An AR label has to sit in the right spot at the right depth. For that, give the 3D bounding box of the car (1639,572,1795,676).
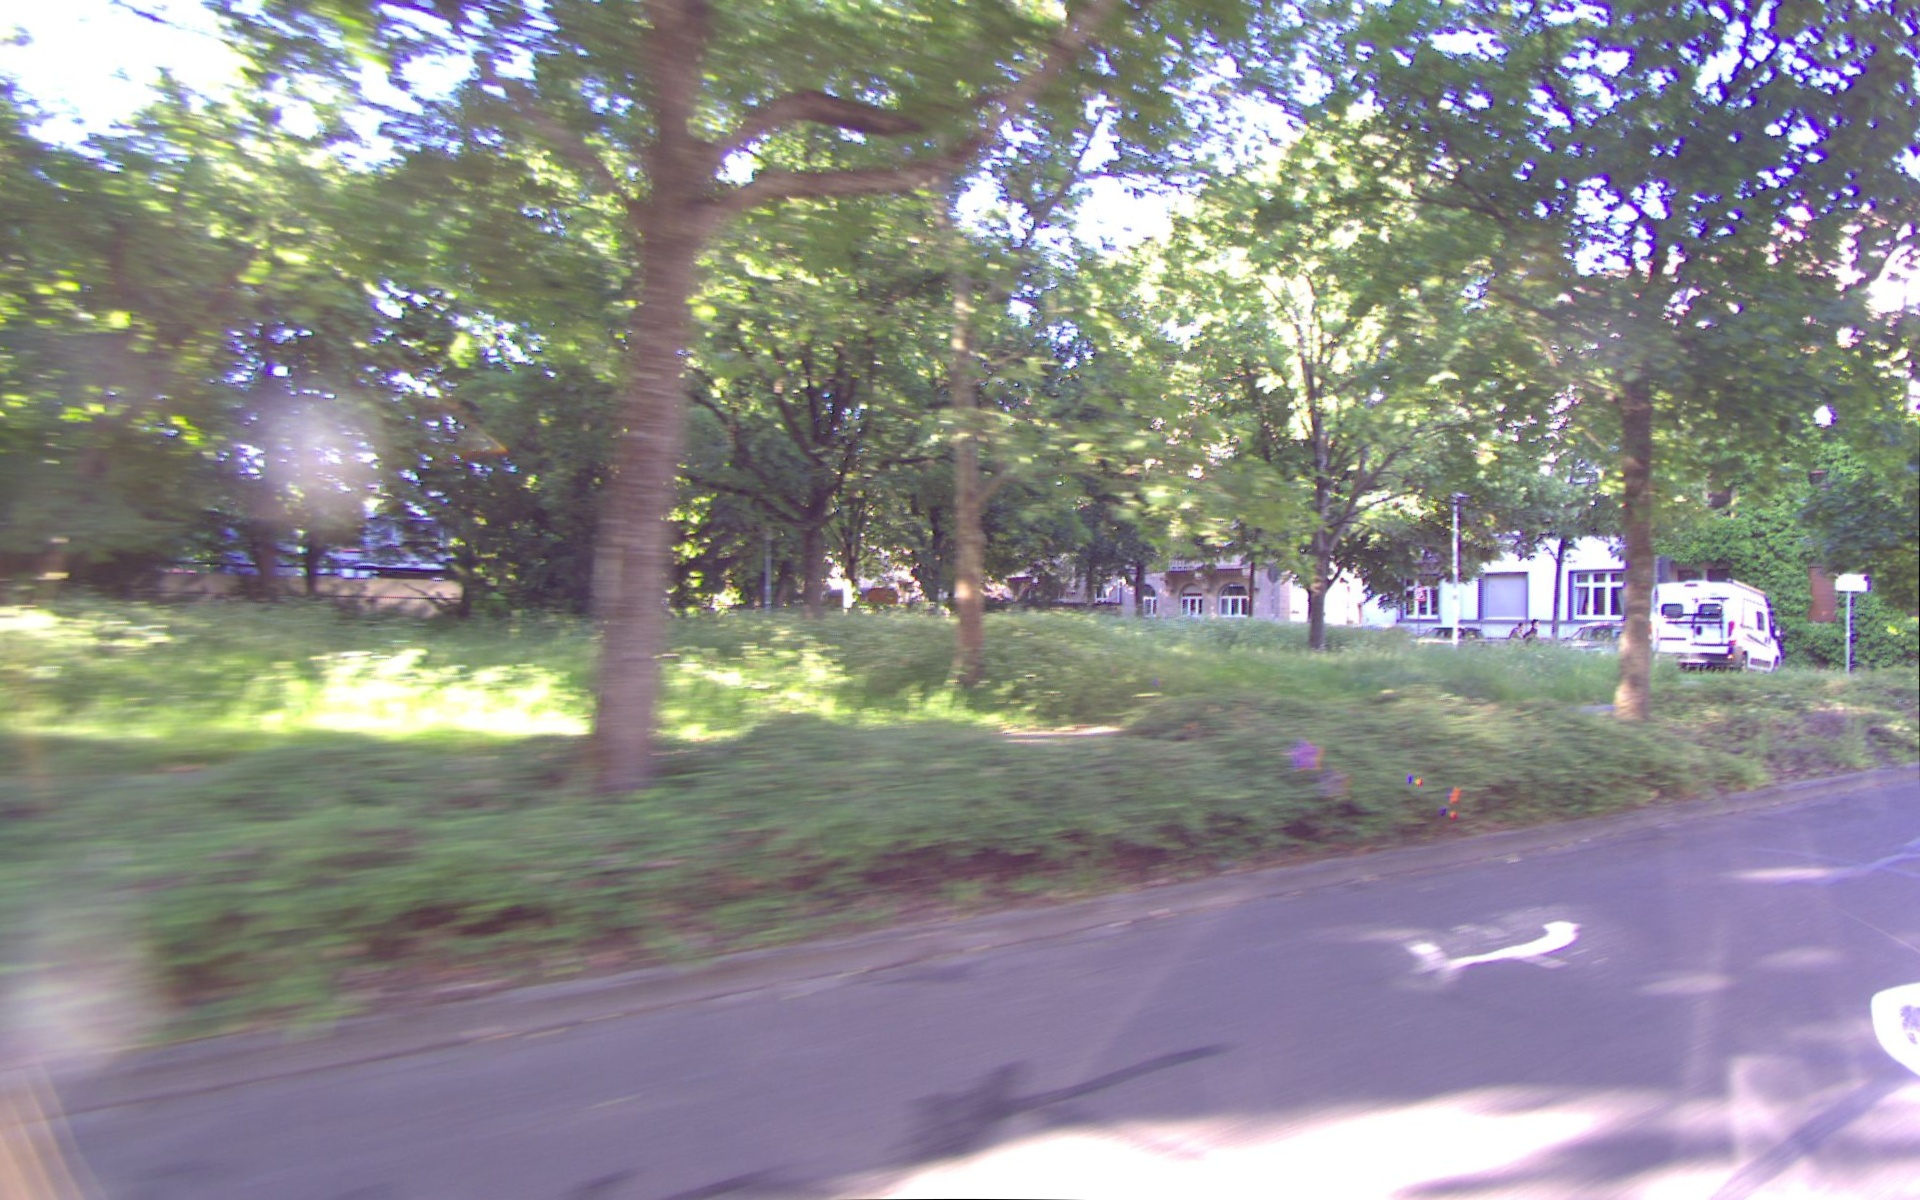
[{"bbox_3d":[21.316,0.686,28.185,5.584,2.649,2.213,2,-1,-39],"label":"car"}]

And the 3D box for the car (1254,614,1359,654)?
[{"bbox_3d":[12.982,1.276,37.581,3.848,1.396,1.956,2,-1,-39],"label":"car"}]

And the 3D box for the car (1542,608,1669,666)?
[{"bbox_3d":[19.288,1.095,29.973,4.263,1.596,1.956,2,-1,-39],"label":"car"}]
